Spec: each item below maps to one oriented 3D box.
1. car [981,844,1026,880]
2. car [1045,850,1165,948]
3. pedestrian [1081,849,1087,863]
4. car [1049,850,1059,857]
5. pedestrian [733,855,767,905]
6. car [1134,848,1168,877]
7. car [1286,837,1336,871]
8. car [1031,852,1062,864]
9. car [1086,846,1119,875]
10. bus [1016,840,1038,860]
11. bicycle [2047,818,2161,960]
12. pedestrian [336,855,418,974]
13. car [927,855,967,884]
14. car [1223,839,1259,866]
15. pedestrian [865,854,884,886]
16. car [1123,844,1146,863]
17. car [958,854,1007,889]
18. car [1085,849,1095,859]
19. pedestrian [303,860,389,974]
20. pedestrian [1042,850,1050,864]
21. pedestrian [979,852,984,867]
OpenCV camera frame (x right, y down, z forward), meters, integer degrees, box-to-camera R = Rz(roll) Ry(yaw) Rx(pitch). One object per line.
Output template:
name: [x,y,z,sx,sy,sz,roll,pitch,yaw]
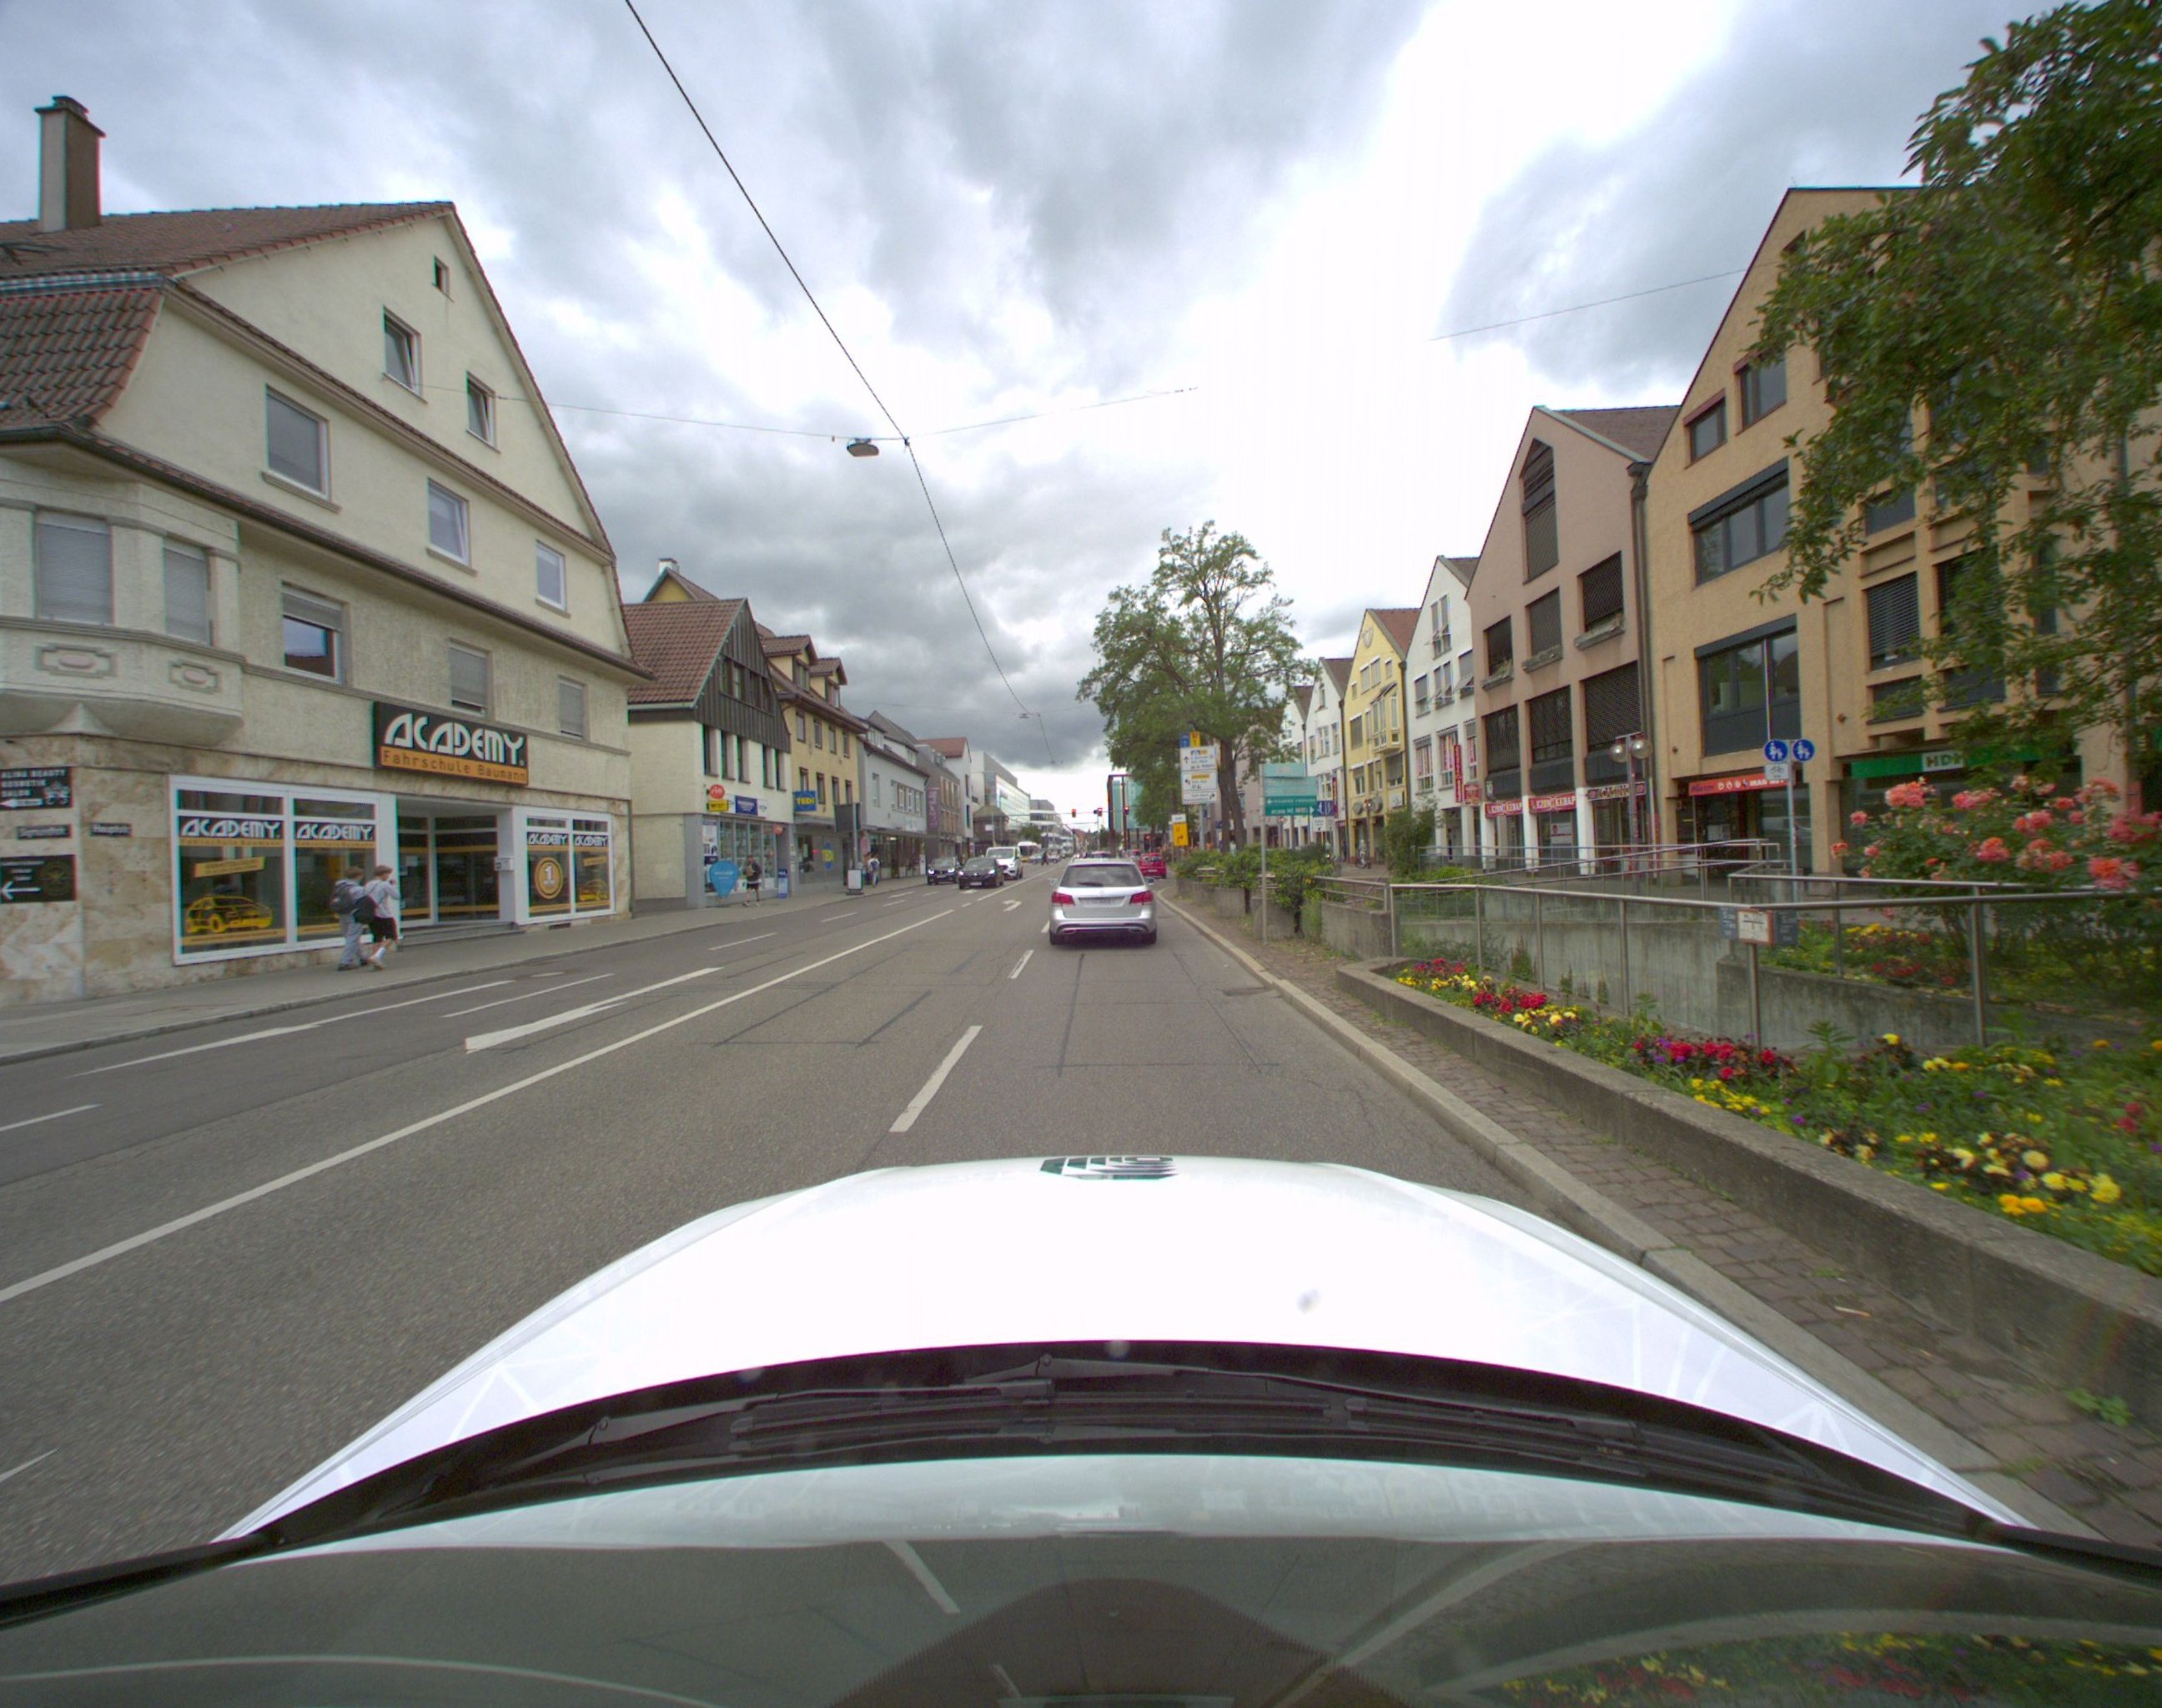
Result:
car: [-4.549,0.445,48.446,1.954,1.960,5.141,-4,0,1]
car: [0.367,0.717,14.937,1.869,1.506,3.999,-2,0,-1]
pedestrian: [0.354,0.248,92.542,0.612,1.634,0.586,1,0,-8]
car: [-4.910,-0.120,148.167,1.569,1.244,3.608,-2,0,2]
pedestrian: [-11.658,0.910,28.720,0.865,1.746,0.805,1,0,-4]
car: [3.982,0.544,47.043,1.747,1.521,4.002,-3,-2,2]
car: [13.617,-0.017,48.381,1.860,1.864,4.001,-2,0,1]
car: [-4.625,0.535,109.704,4.084,1.541,1.581,-2,0,2]
car: [1.358,0.373,51.897,1.986,1.684,4.001,-2,0,1]
bus: [-8.798,-0.619,133.267,2.765,3.165,5.935,-2,0,2]
bicycle: [11.053,0.299,8.152,1.812,1.326,0.842,-2,0,-3]
pedestrian: [-11.289,0.948,13.079,0.631,1.824,0.681,-3,0,1]
car: [-7.762,0.866,47.396,1.611,1.523,3.508,-3,0,1]
car: [11.850,-0.141,60.584,1.860,1.864,4.001,-2,0,1]
pedestrian: [-10.738,0.827,42.393,0.815,1.634,0.979,0,0,-4]
car: [5.036,-0.014,77.066,1.986,1.684,4.001,-2,0,1]
car: [-4.501,0.780,37.750,1.611,1.428,3.924,-3,0,2]
car: [1.968,0.063,174.547,1.987,2.013,4.001,-2,0,1]
pedestrian: [-11.965,1.005,13.274,0.685,1.761,0.681,-3,0,1]
pedestrian: [-4.082,0.307,94.195,0.854,1.634,0.588,1,0,3]
pedestrian: [-11.475,0.621,93.952,0.584,1.634,0.615,1,0,-1]
